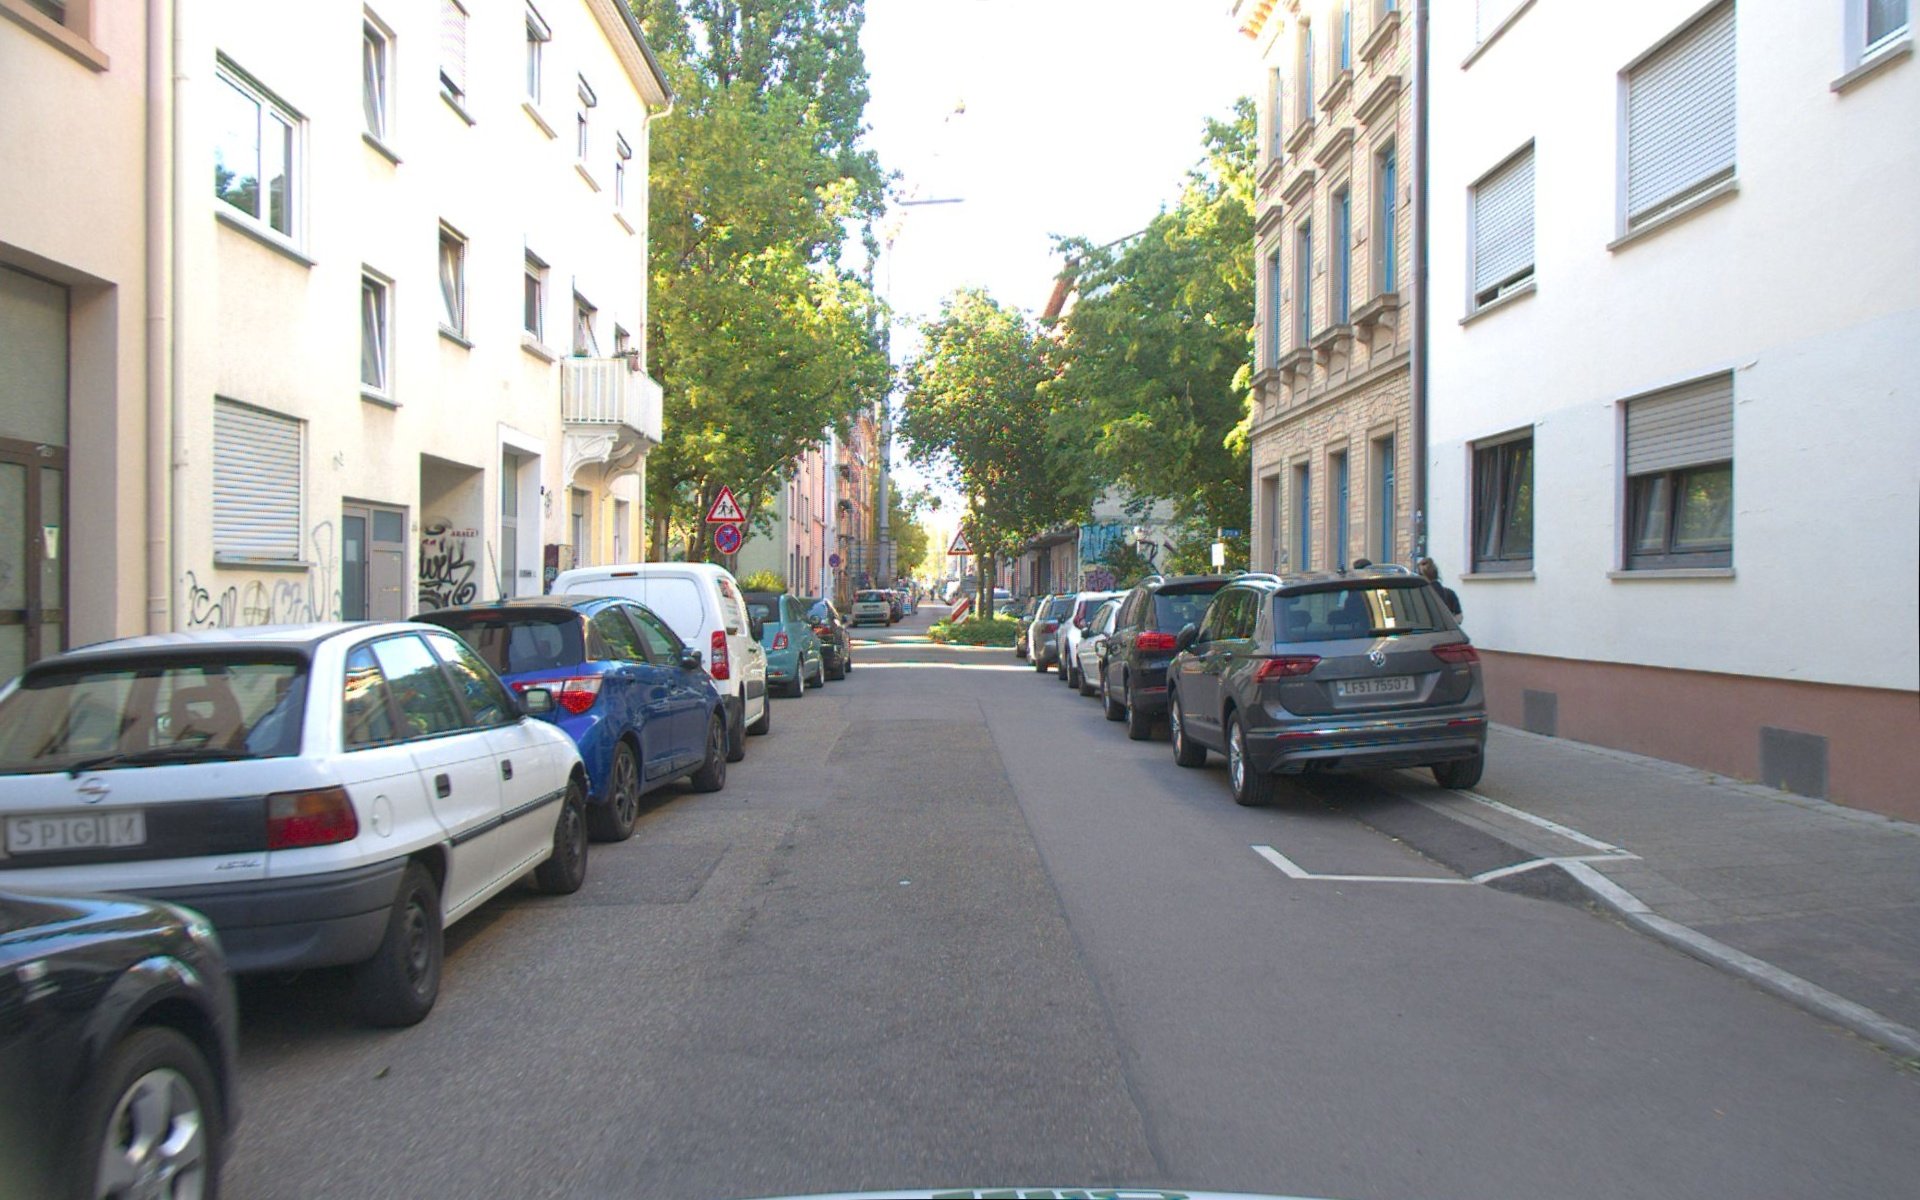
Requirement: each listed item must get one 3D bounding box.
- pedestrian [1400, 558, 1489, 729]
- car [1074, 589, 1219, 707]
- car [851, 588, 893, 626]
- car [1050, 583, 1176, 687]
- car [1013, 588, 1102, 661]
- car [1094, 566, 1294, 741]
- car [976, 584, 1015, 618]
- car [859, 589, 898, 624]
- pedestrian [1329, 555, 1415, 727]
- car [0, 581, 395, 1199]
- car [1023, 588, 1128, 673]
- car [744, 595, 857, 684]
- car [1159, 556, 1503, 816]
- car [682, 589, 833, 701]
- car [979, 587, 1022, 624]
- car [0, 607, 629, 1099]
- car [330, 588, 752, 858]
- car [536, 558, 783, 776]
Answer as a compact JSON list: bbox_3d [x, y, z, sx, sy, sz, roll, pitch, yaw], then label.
[{"bbox_3d":[4.886,0.425,16.717,0.671,1.689,0.717,0,0,-1],"label":"pedestrian"},{"bbox_3d":[2.589,0.617,23.617,1.535,1.509,3.618,-2,1,-2],"label":"car"},{"bbox_3d":[-3.694,0.277,70.054,1.642,1.513,4.093,-2,1,-2],"label":"car"},{"bbox_3d":[2.499,0.526,27.827,1.642,1.588,3.795,-2,1,-2],"label":"car"},{"bbox_3d":[2.177,0.509,37.727,1.642,1.513,4.093,-2,1,-2],"label":"car"},{"bbox_3d":[2.517,0.549,18.653,1.641,1.711,4.094,-2,0,0],"label":"car"},{"bbox_3d":[1.641,0.032,78.135,1.642,1.513,3.637,-2,1,-2],"label":"car"},{"bbox_3d":[-3.700,0.262,75.573,1.642,1.513,4.093,-2,1,-2],"label":"car"},{"bbox_3d":[4.145,0.399,16.688,0.671,1.689,0.717,0,0,-1],"label":"pedestrian"},{"bbox_3d":[-2.423,0.763,2.274,1.707,1.533,4.347,-2,1,1],"label":"car"},{"bbox_3d":[2.226,0.550,32.726,1.642,1.513,4.093,-2,1,-2],"label":"car"},{"bbox_3d":[-2.728,0.640,29.056,1.636,1.385,4.048,-2,1,-1],"label":"car"},{"bbox_3d":[2.779,0.572,13.368,1.642,1.655,4.249,-4,0,-2],"label":"car"},{"bbox_3d":[-2.967,0.615,24.960,1.635,1.495,3.821,-2,1,2],"label":"car"},{"bbox_3d":[1.738,0.200,71.605,1.642,1.513,3.637,-2,1,-2],"label":"car"},{"bbox_3d":[-2.653,0.785,7.141,1.639,1.412,4.181,-2,1,-1],"label":"car"},{"bbox_3d":[-2.677,0.702,11.556,1.638,1.512,3.994,-1,1,4],"label":"car"},{"bbox_3d":[-2.783,0.555,16.171,1.729,1.816,4.038,-2,1,-2],"label":"car"}]
